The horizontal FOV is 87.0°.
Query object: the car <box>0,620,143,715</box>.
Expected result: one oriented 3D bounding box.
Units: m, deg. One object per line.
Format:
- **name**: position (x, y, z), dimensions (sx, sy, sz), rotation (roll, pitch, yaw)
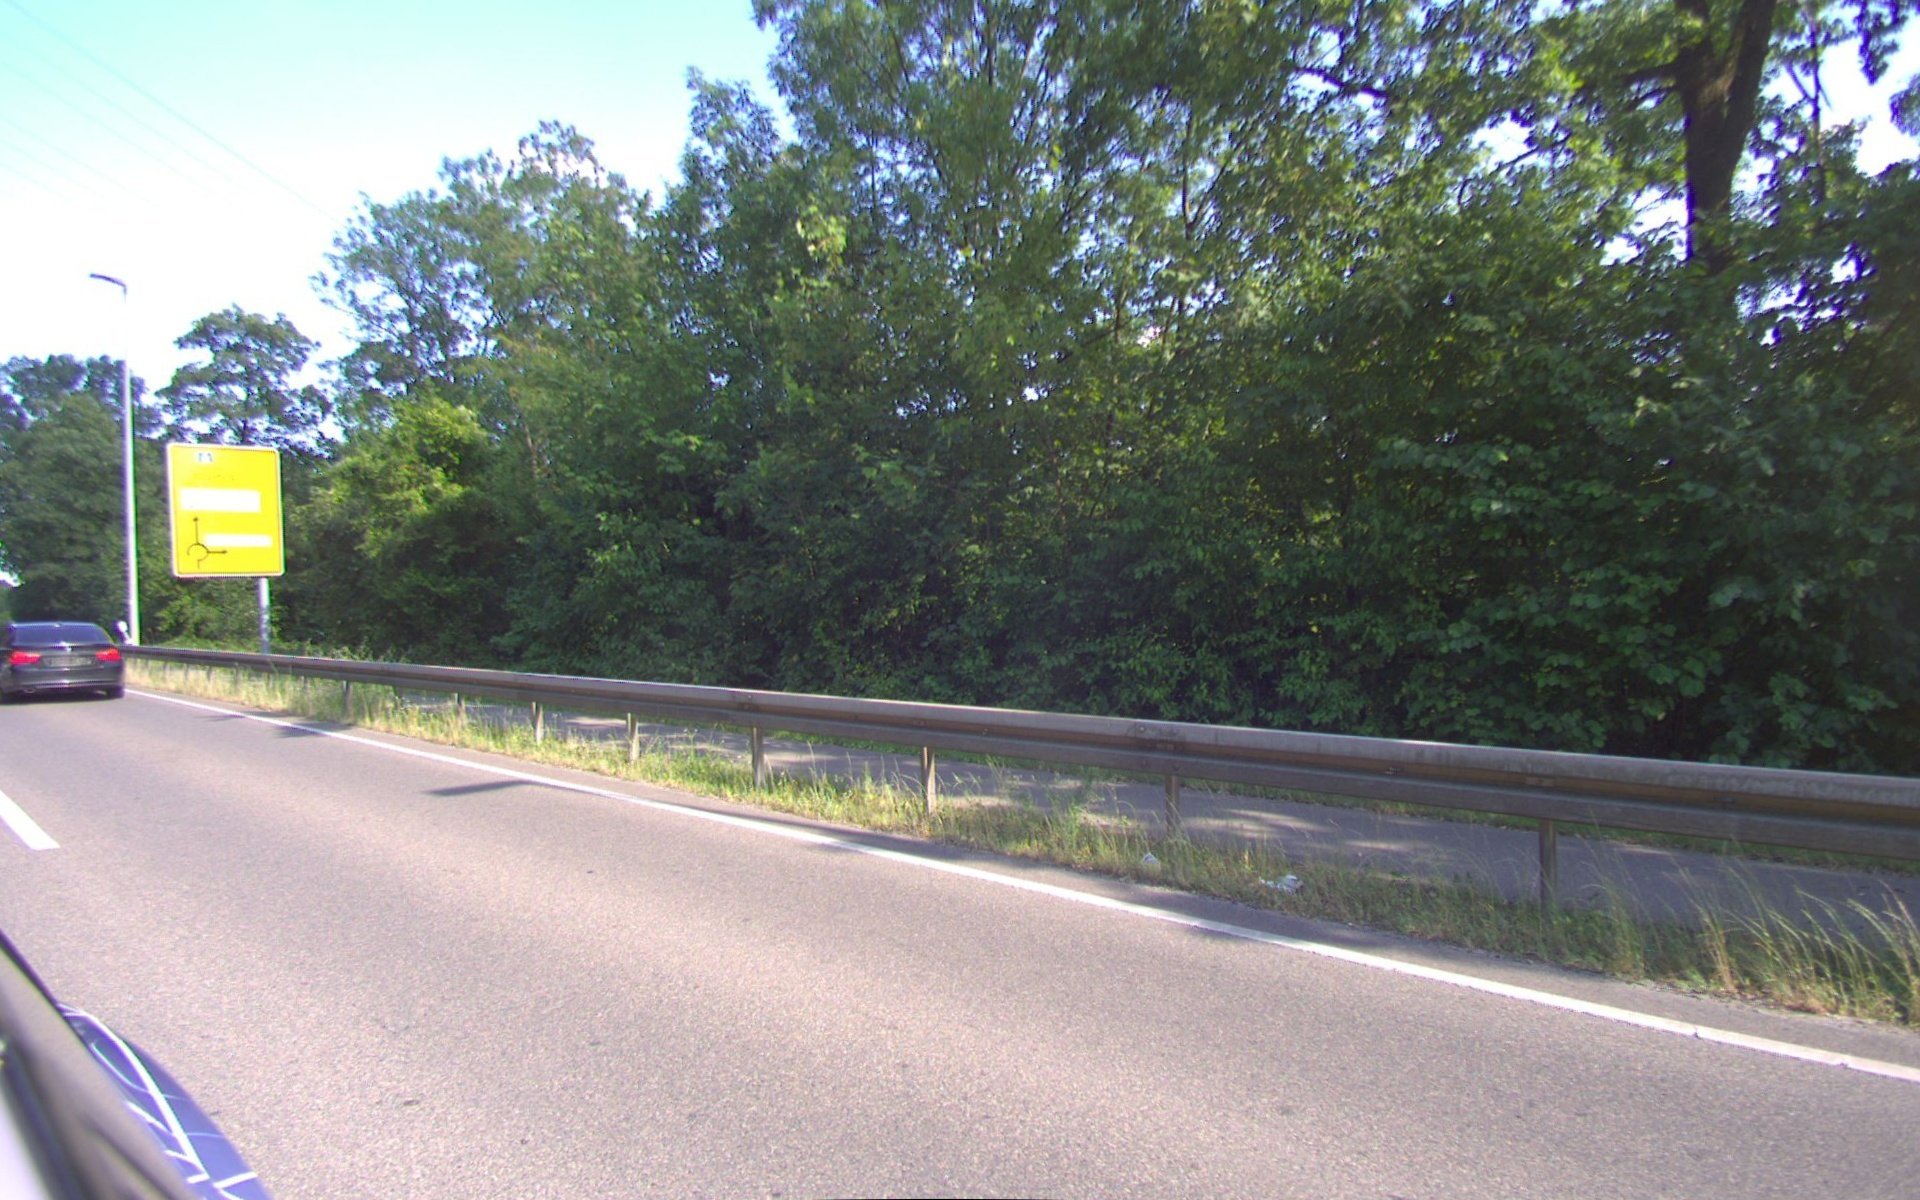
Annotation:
- **car**: position (-15.639, 1.090, 17.503), dimensions (4.140, 1.431, 1.674), rotation (-1, -1, 41)
